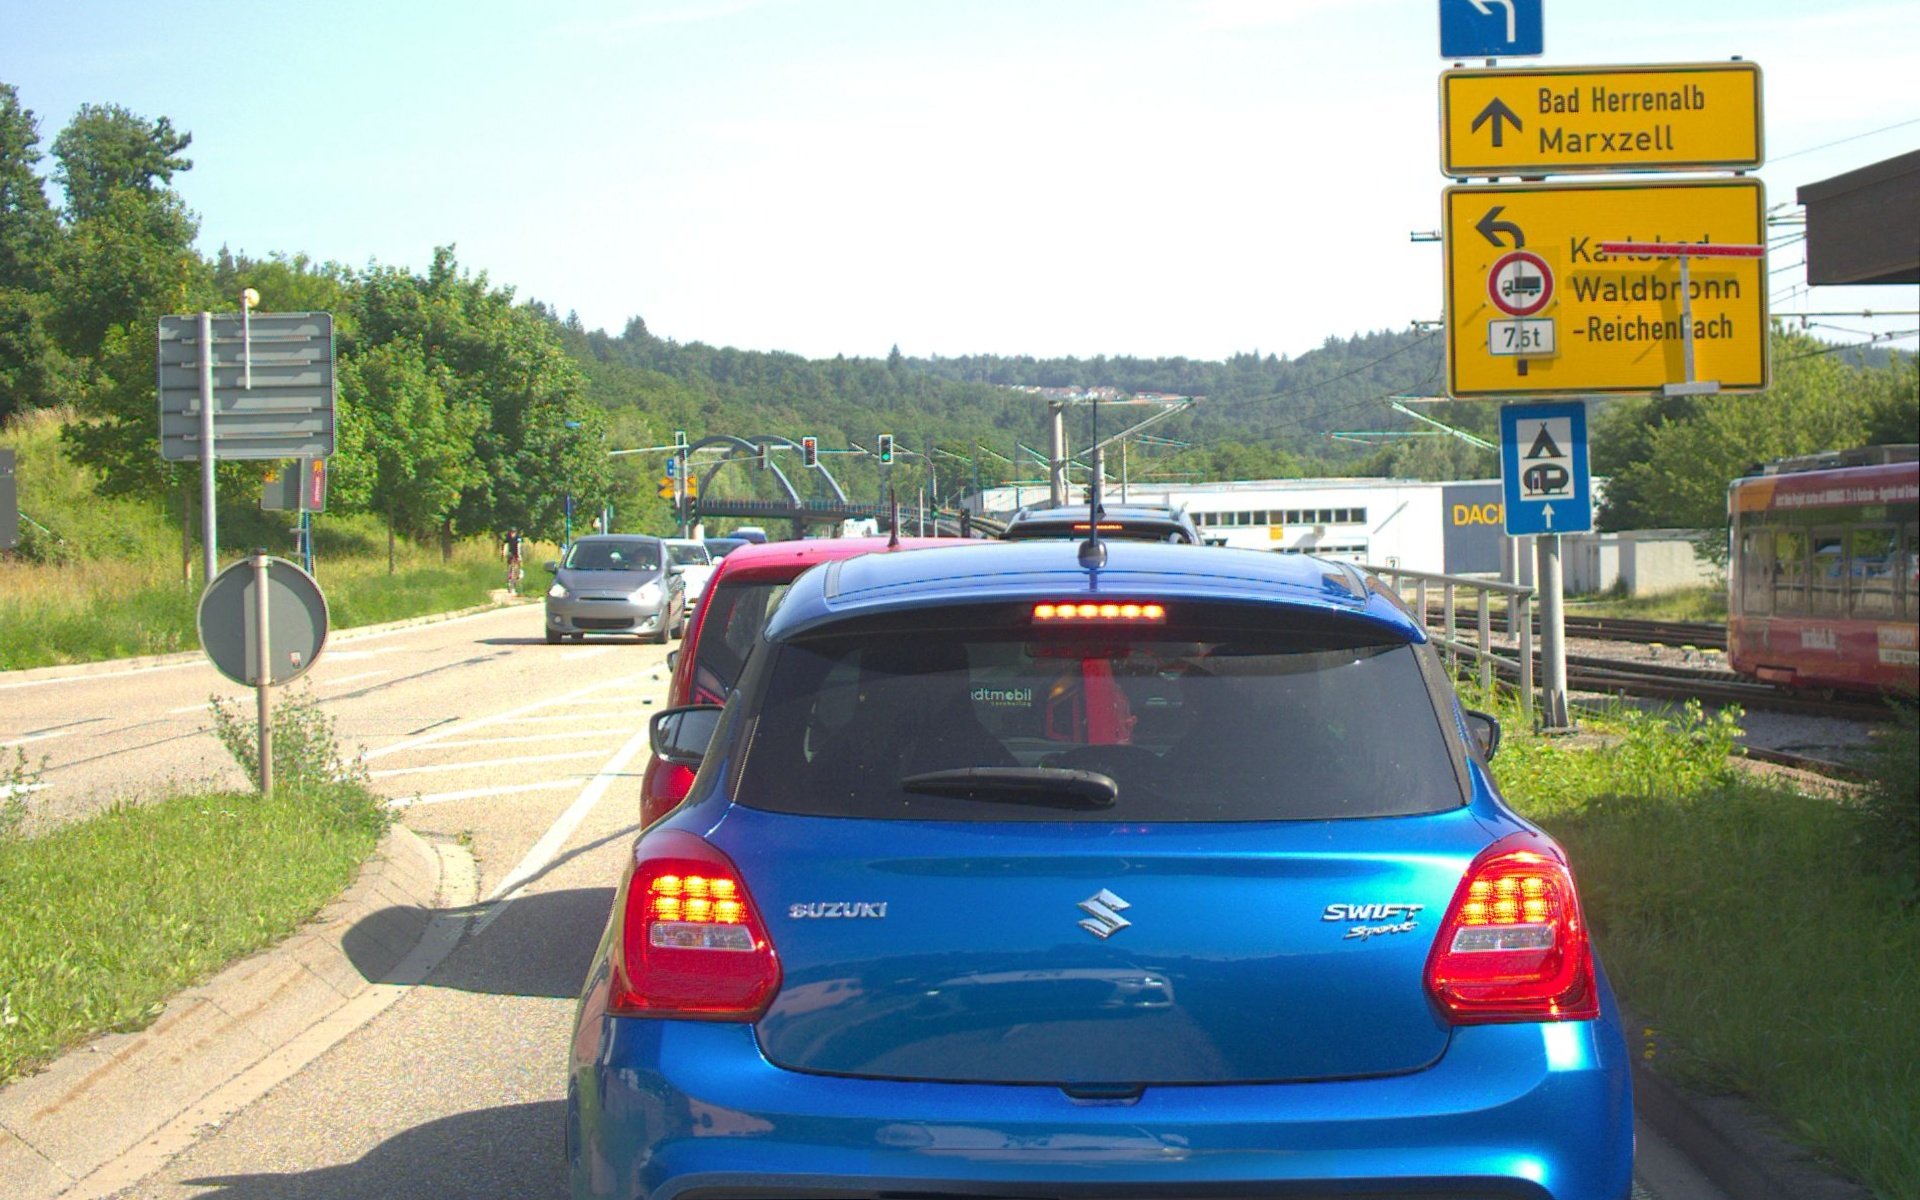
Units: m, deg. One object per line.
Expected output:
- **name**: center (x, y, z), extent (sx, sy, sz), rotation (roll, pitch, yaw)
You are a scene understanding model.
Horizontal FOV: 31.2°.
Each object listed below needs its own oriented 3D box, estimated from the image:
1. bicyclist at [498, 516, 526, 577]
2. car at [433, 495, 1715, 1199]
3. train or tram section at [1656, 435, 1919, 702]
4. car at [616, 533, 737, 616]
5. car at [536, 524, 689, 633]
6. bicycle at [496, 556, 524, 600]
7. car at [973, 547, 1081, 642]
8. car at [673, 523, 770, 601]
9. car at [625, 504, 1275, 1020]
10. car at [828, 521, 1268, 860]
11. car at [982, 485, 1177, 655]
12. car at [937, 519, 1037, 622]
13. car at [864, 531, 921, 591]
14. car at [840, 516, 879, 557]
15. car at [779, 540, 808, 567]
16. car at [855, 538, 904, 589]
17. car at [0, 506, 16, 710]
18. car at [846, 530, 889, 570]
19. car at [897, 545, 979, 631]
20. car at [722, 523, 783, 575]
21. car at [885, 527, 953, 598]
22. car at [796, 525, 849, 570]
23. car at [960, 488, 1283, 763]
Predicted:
- **bicyclist**: center (-11.253, -1.347, 86.290), extent (0.629, 1.502, 0.506), rotation (2, 2, -3)
- **car**: center (0.122, 0.579, 7.030), extent (1.868, 1.543, 4.000), rotation (0, 1, -1)
- **train or tram section**: center (13.000, -0.535, 48.891), extent (2.755, 3.352, 12.051), rotation (1, 2, -5)
- **car**: center (-5.222, -0.496, 63.653), extent (1.832, 1.364, 3.950), rotation (1, 2, 1)
- **car**: center (-4.760, -0.314, 47.515), extent (1.672, 1.436, 3.840), rotation (1, 1, 1)
- **bicycle**: center (-11.288, -0.567, 86.325), extent (0.566, 1.039, 1.552), rotation (2, 2, -3)
- **car**: center (1.204, -0.121, 61.258), extent (1.832, 1.488, 3.811), rotation (2, 2, 1)
- **car**: center (-5.192, -0.857, 75.205), extent (1.832, 1.463, 3.811), rotation (2, 3, 0)
- **car**: center (0.000, 0.472, 12.700), extent (1.993, 1.566, 4.000), rotation (1, 1, 1)
- **car**: center (0.440, 0.361, 17.967), extent (1.993, 1.526, 4.602), rotation (-1, 1, 1)
- **car**: center (1.284, -0.361, 38.052), extent (1.993, 1.730, 4.000), rotation (2, 1, 1)
- **car**: center (0.535, -0.648, 73.097), extent (1.993, 2.006, 4.001), rotation (2, 2, -1)
- **car**: center (-2.433, -1.445, 124.769), extent (1.993, 2.006, 4.001), rotation (2, 2, -1)
- **car**: center (-5.426, -3.446, 186.695), extent (1.993, 2.137, 4.720), rotation (1, 1, -1)
- **car**: center (-12.513, -3.507, 258.514), extent (1.993, 2.007, 4.000), rotation (1, 1, -1)
- **car**: center (-3.467, -1.594, 148.108), extent (1.993, 2.006, 4.001), rotation (2, 2, -1)
- **car**: center (-8.360, 0.098, 24.411), extent (1.993, 1.558, 4.509), rotation (0, 1, 1)
- **car**: center (-4.517, -2.462, 167.872), extent (1.993, 1.810, 4.001), rotation (2, 2, -1)
- **car**: center (-0.561, -0.334, 87.900), extent (1.993, 2.006, 4.001), rotation (2, 2, -1)
- **car**: center (-7.323, -1.811, 121.733), extent (1.832, 1.707, 3.811), rotation (2, 2, 1)
- **car**: center (-1.261, -1.183, 105.434), extent (1.993, 2.006, 4.001), rotation (2, 2, -1)
- **car**: center (-5.592, -2.148, 140.104), extent (1.993, 1.777, 4.000), rotation (1, 1, -1)
- **car**: center (1.059, 0.110, 24.049), extent (1.993, 1.681, 4.497), rotation (2, 1, 1)
